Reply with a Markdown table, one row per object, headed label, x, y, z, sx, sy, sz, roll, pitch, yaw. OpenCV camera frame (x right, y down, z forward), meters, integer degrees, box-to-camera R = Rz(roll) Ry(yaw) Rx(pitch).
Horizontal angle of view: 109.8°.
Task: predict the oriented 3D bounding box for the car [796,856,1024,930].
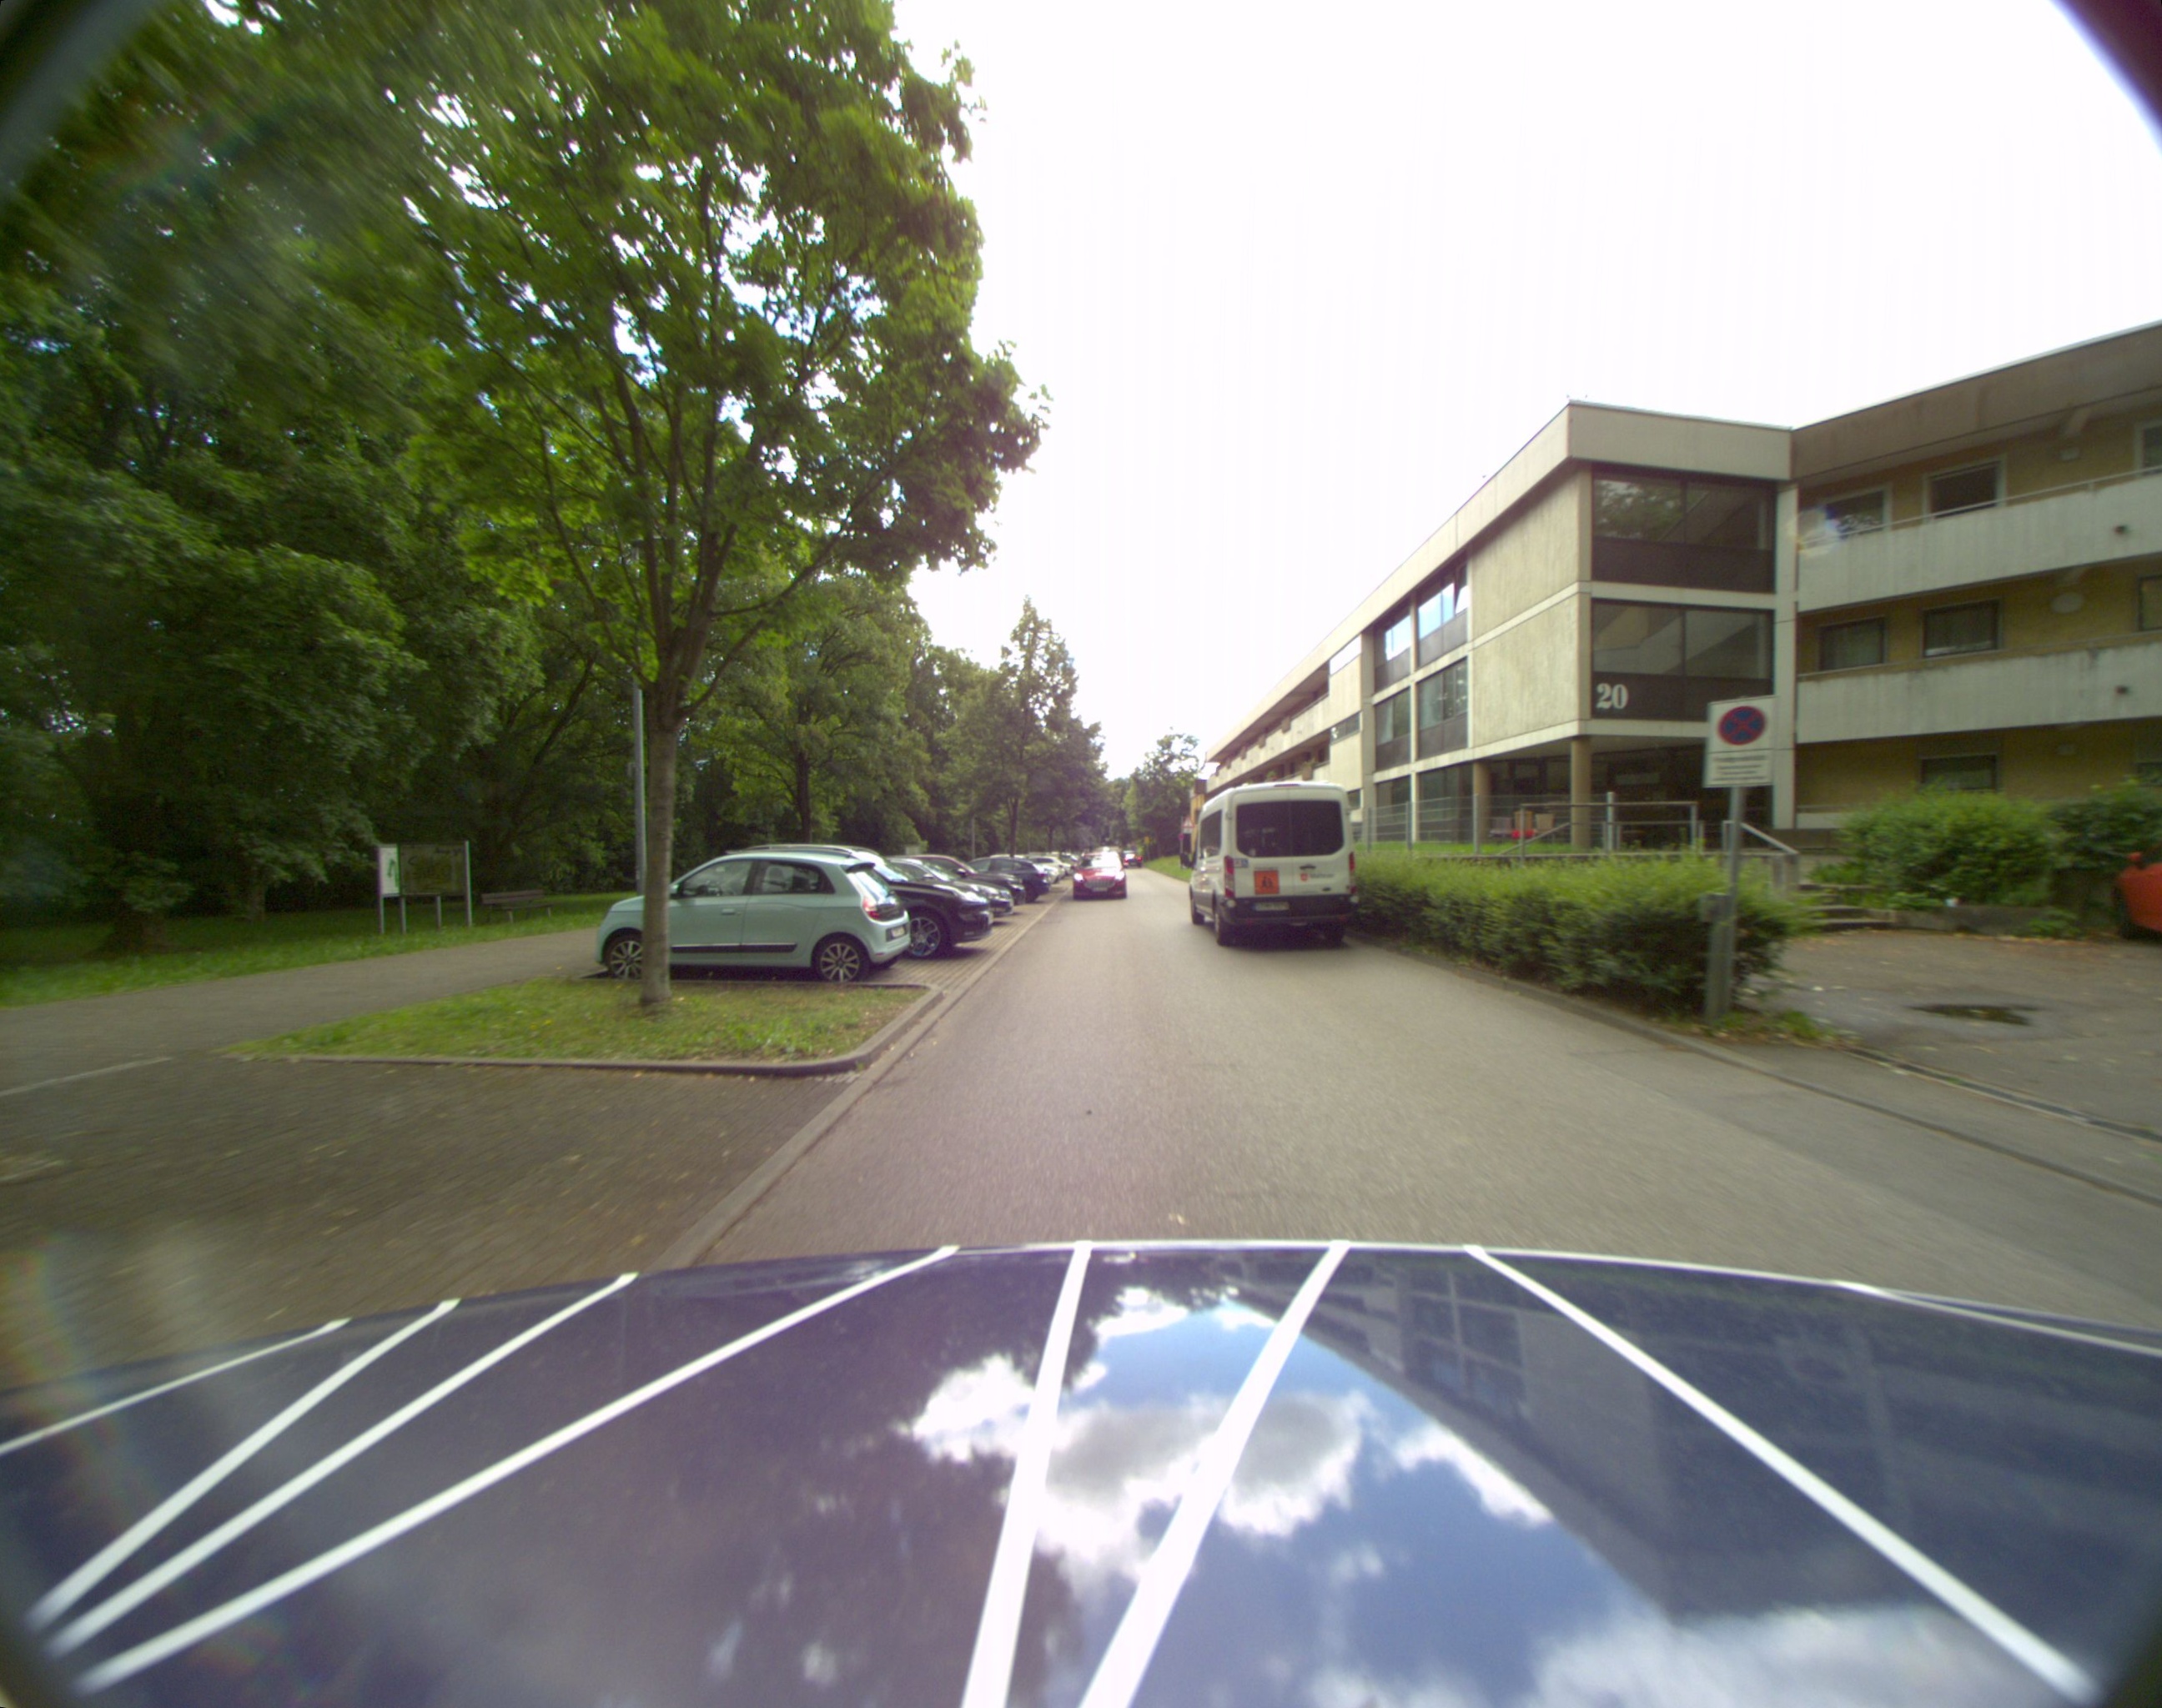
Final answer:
| label | x | y | z | sx | sy | sz | roll | pitch | yaw |
| --- | --- | --- | --- | --- | --- | --- | --- | --- | --- |
| car | -3.741 | 0.831 | 17.190 | 4.646 | 1.508 | 1.983 | 1 | 0 | 4 |

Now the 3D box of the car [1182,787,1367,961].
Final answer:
| label | x | y | z | sx | sy | sz | roll | pitch | yaw |
| --- | --- | --- | --- | --- | --- | --- | --- | --- | --- |
| car | 3.227 | 0.294 | 14.204 | 2.137 | 2.461 | 6.278 | -2 | 0 | 4 |

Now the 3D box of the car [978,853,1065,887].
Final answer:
| label | x | y | z | sx | sy | sz | roll | pitch | yaw |
| --- | --- | --- | --- | --- | --- | --- | --- | --- | --- |
| car | -2.777 | 0.732 | 36.060 | 3.848 | 1.507 | 1.881 | 1 | 1 | 5 |

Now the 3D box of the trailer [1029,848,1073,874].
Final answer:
| label | x | y | z | sx | sy | sz | roll | pitch | yaw |
| --- | --- | --- | --- | --- | --- | --- | --- | --- | --- |
| trailer | -2.106 | 0.495 | 54.145 | 3.037 | 1.780 | 1.563 | 1 | 1 | -1 |

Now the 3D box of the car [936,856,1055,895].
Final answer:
| label | x | y | z | sx | sy | sz | roll | pitch | yaw |
| --- | --- | --- | --- | --- | --- | --- | --- | --- | --- |
| car | -3.345 | 0.817 | 30.324 | 4.496 | 1.446 | 1.846 | 1 | 1 | 2 |

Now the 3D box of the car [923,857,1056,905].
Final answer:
| label | x | y | z | sx | sy | sz | roll | pitch | yaw |
| --- | --- | --- | --- | --- | --- | --- | --- | --- | --- |
| car | -2.937 | 0.843 | 24.943 | 4.082 | 1.448 | 1.851 | 1 | 1 | 3 |

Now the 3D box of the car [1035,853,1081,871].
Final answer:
| label | x | y | z | sx | sy | sz | roll | pitch | yaw |
| --- | --- | --- | --- | --- | --- | --- | --- | --- | --- |
| car | -2.129 | 0.726 | 69.627 | 4.170 | 1.561 | 1.785 | -1 | 1 | -2 |

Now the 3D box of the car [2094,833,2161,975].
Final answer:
| label | x | y | z | sx | sy | sz | roll | pitch | yaw |
| --- | --- | --- | --- | --- | --- | --- | --- | --- | --- |
| car | 12.409 | 0.498 | 7.872 | 1.744 | 1.422 | 4.008 | -1 | 1 | 45 |

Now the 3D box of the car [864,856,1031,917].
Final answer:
| label | x | y | z | sx | sy | sz | roll | pitch | yaw |
| --- | --- | --- | --- | --- | --- | --- | --- | --- | --- |
| car | -3.414 | 0.821 | 20.023 | 4.083 | 1.508 | 1.851 | 1 | 1 | -2 |

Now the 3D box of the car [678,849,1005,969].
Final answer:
| label | x | y | z | sx | sy | sz | roll | pitch | yaw |
| --- | --- | --- | --- | --- | --- | --- | --- | --- | --- |
| car | -3.549 | 0.789 | 11.927 | 4.425 | 1.666 | 2.082 | 1 | 0 | 2 |

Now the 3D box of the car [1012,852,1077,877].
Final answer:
| label | x | y | z | sx | sy | sz | roll | pitch | yaw |
| --- | --- | --- | --- | --- | --- | --- | --- | --- | --- |
| car | -2.314 | 0.648 | 48.955 | 4.123 | 1.539 | 1.860 | 1 | 1 | -1 |

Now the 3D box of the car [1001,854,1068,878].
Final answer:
| label | x | y | z | sx | sy | sz | roll | pitch | yaw |
| --- | --- | --- | --- | --- | --- | --- | --- | --- | --- |
| car | -2.812 | 0.703 | 46.514 | 4.019 | 1.414 | 1.791 | 1 | 1 | -3 |

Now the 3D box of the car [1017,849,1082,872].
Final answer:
| label | x | y | z | sx | sy | sz | roll | pitch | yaw |
| --- | --- | --- | --- | --- | --- | --- | --- | --- | --- |
| car | -2.406 | 0.499 | 59.392 | 4.828 | 1.683 | 1.974 | 1 | 1 | 5 |

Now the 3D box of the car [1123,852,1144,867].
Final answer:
| label | x | y | z | sx | sy | sz | roll | pitch | yaw |
| --- | --- | --- | --- | --- | --- | --- | --- | --- | --- |
| car | 5.316 | 0.505 | 77.815 | 1.918 | 1.403 | 4.424 | -2 | 0 | 1 |

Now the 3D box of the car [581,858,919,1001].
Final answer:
| label | x | y | z | sx | sy | sz | roll | pitch | yaw |
| --- | --- | --- | --- | --- | --- | --- | --- | --- | --- |
| car | -3.931 | 0.849 | 9.449 | 3.387 | 1.565 | 1.797 | 1 | 0 | 3 |

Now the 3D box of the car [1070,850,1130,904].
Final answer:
| label | x | y | z | sx | sy | sz | roll | pitch | yaw |
| --- | --- | --- | --- | --- | --- | --- | --- | --- | --- |
| car | 0.695 | 0.736 | 27.230 | 1.918 | 1.707 | 5.039 | -2 | 0 | 2 |
